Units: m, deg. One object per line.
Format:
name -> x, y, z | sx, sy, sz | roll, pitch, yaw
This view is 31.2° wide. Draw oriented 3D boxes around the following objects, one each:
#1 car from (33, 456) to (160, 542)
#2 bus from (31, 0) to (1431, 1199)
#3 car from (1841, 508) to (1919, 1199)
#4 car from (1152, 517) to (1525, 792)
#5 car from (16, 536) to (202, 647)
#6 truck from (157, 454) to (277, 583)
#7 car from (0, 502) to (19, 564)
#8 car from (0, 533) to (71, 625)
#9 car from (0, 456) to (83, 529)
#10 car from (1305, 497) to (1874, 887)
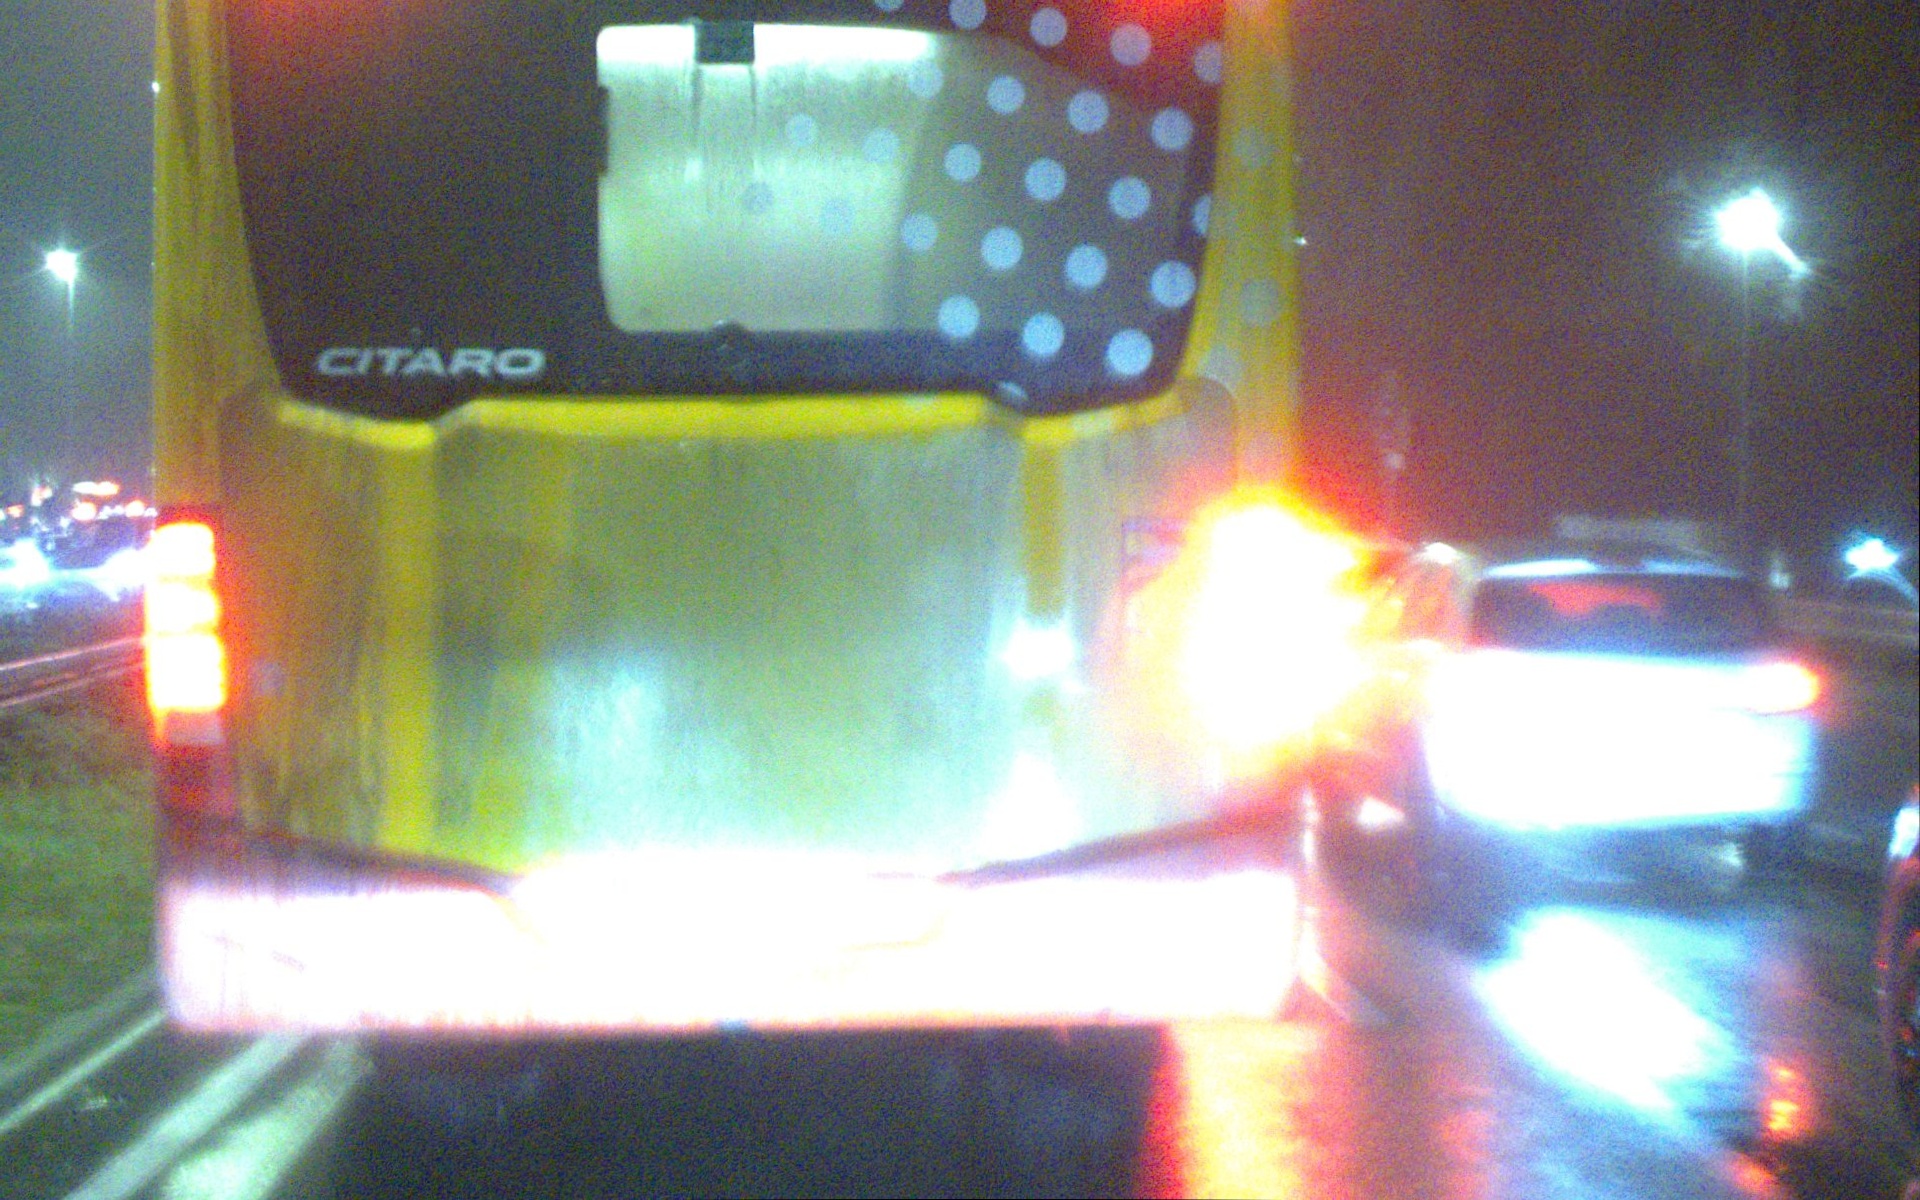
car -> -21.599, -2.519, 85.919 | 1.993, 2.007, 4.000 | 2, 0, -30
bus -> -0.505, -0.255, 11.424 | 2.815, 3.013, 8.688 | 2, 1, -1
car -> 3.086, 0.625, 6.434 | 1.739, 1.559, 3.777 | 2, 1, -2
car -> 2.304, 0.283, 21.833 | 1.819, 1.585, 3.777 | 0, 1, -2
car -> -11.917, -0.153, 48.356 | 1.993, 1.481, 4.001 | 0, 1, -6
truck -> -15.074, -1.698, 69.594 | 1.855, 2.384, 4.781 | -1, 4, -18
car -> -26.572, -1.837, 91.758 | 1.751, 1.625, 3.623 | 2, 0, -33
car -> -21.184, -0.499, 77.152 | 1.993, 2.007, 4.001 | 0, 1, -20
car -> -27.253, -3.159, 102.027 | 2.120, 2.007, 4.001 | 2, 0, -12
car -> 2.764, 0.344, 15.940 | 1.819, 1.585, 3.777 | 0, 1, -2
